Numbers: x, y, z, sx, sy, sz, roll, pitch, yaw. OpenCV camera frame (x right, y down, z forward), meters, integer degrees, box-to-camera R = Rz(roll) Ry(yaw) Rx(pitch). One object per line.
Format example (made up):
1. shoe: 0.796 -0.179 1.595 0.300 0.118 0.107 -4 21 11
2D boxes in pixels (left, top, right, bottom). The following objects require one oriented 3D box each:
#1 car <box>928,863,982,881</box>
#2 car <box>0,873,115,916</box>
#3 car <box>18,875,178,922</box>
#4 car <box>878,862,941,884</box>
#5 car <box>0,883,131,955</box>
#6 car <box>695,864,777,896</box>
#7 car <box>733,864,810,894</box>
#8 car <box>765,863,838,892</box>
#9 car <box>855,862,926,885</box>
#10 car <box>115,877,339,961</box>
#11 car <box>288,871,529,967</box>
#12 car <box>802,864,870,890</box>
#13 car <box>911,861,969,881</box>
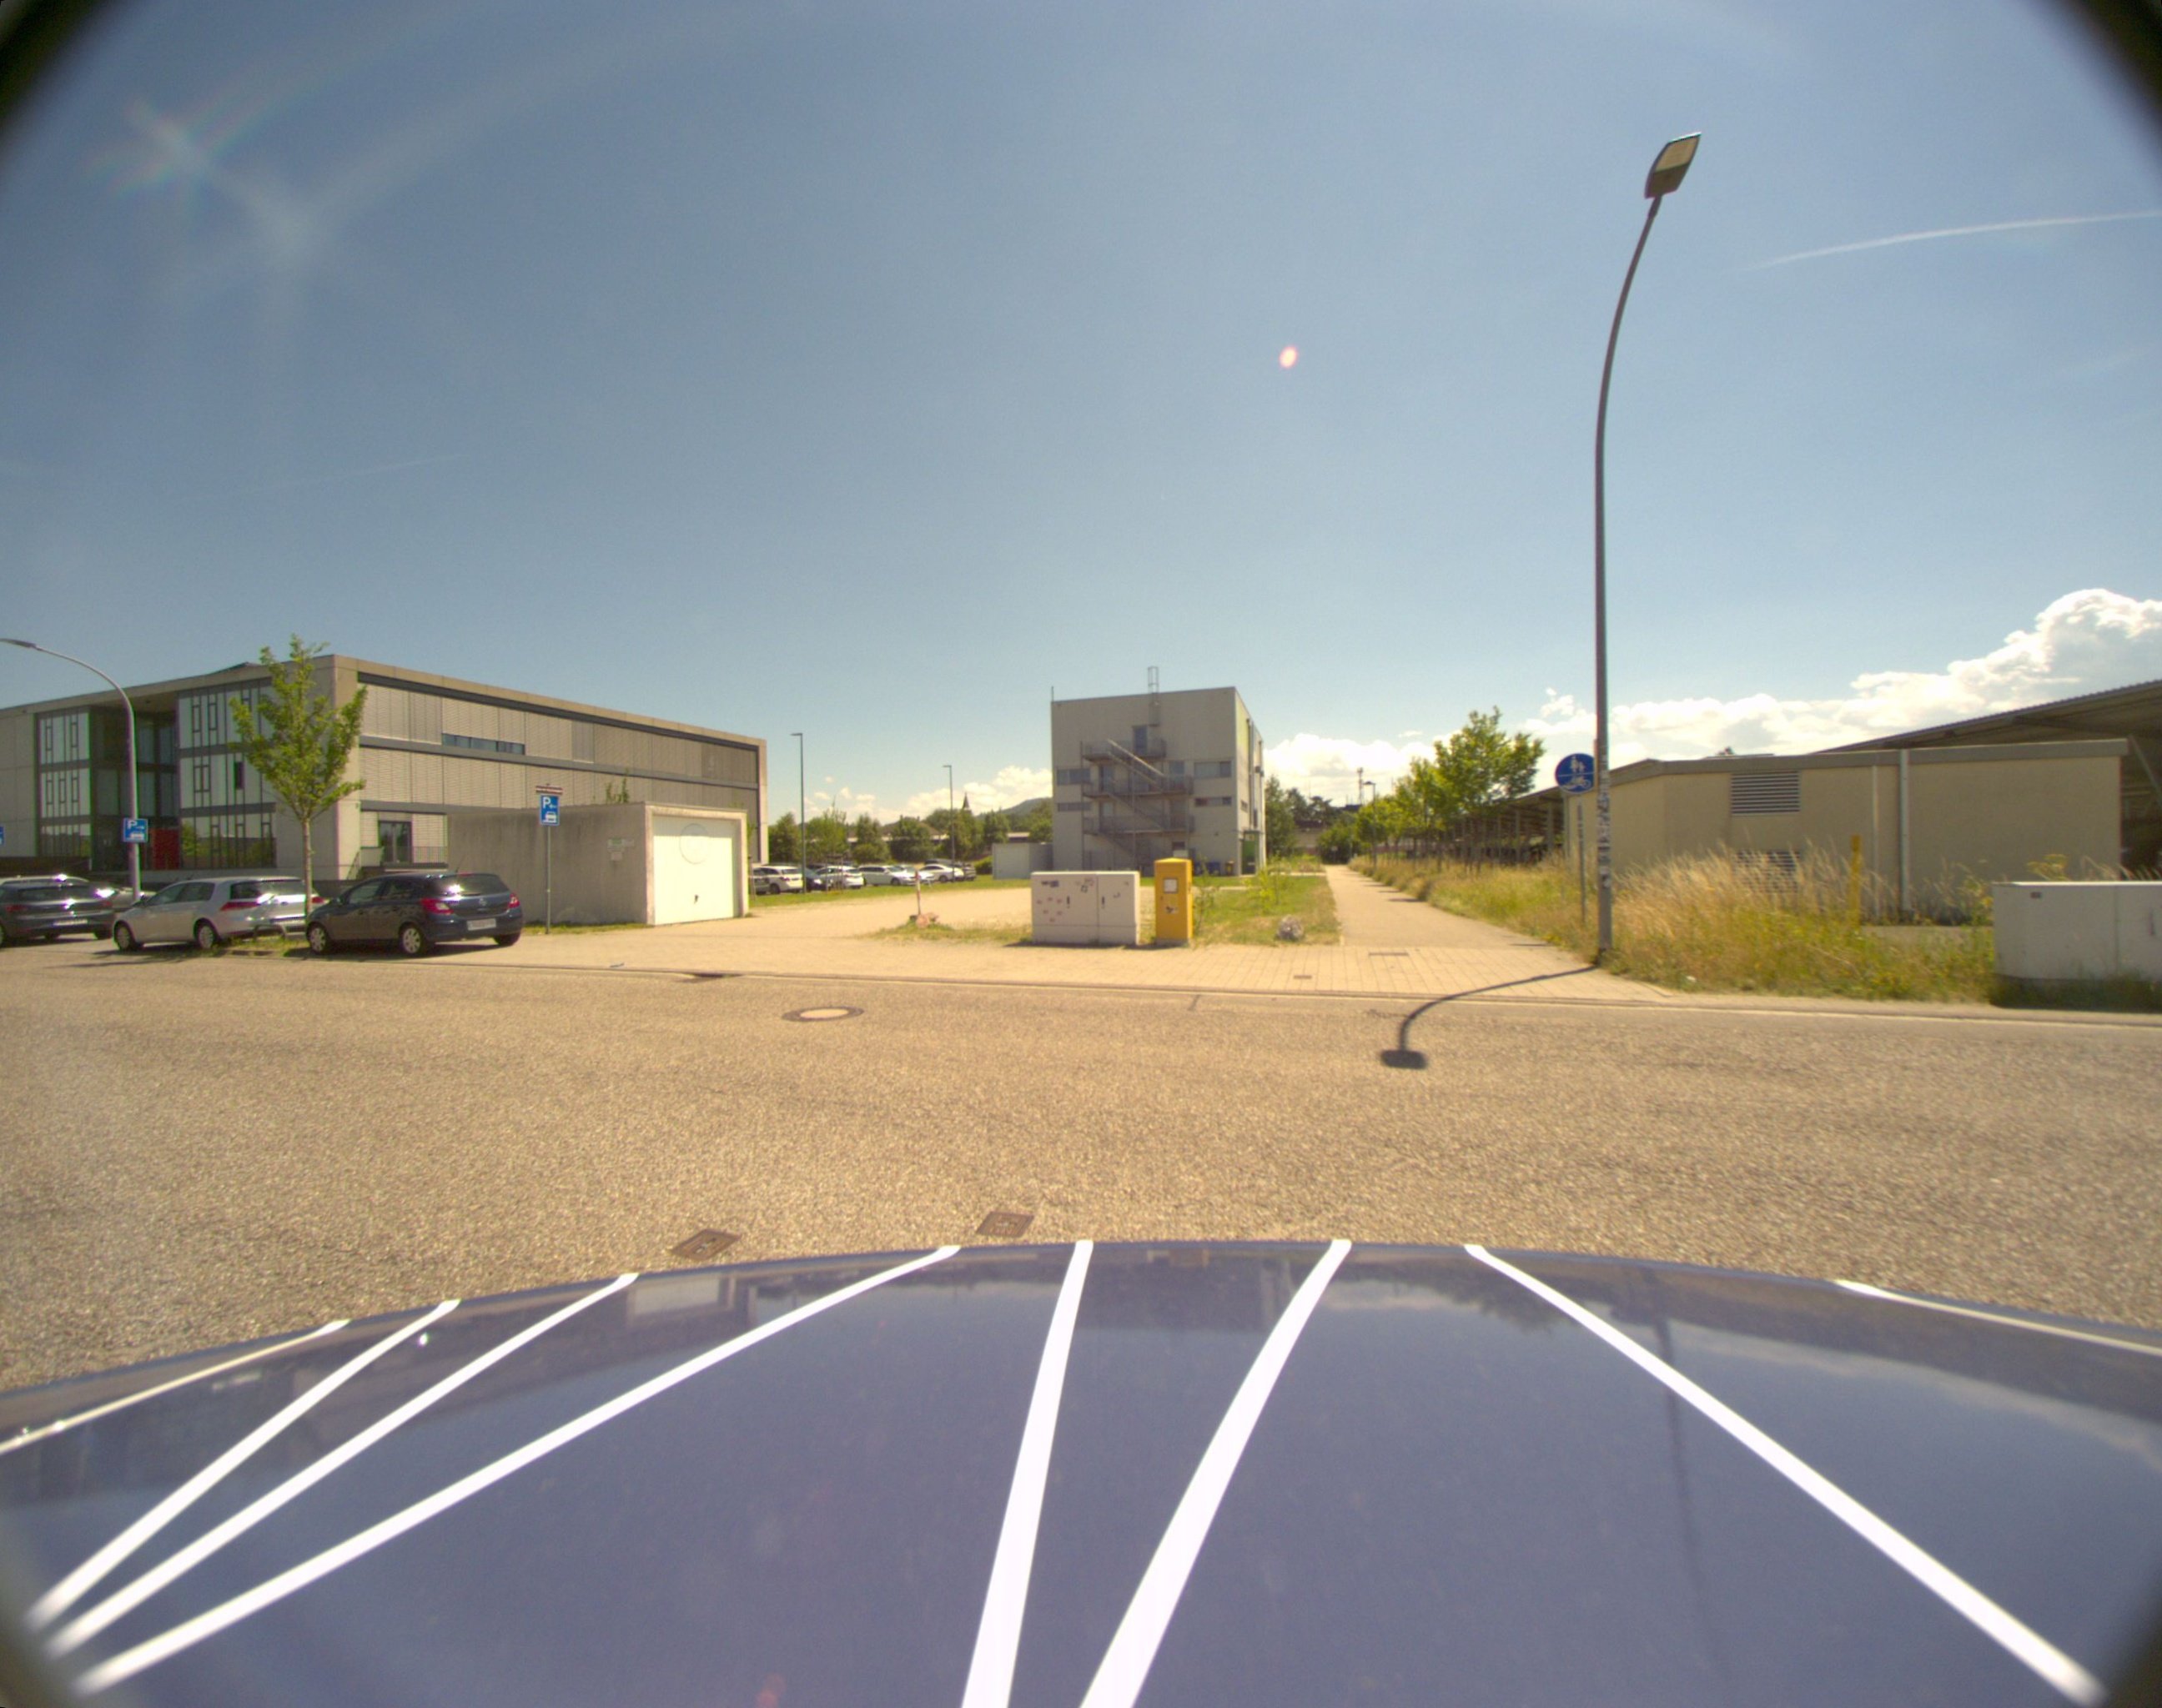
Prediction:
1. car: -10.275 1.453 62.010 4.048 1.379 1.661 -1 1 19
2. car: -42.746 1.632 31.135 1.658 1.461 3.626 -2 2 -2
3. car: -39.205 1.730 30.458 1.658 1.461 3.626 -2 2 -2
4. car: -12.131 1.341 53.784 4.048 1.458 1.661 -1 1 19
5. car: -25.098 1.509 18.227 3.620 1.461 1.660 -1 3 19
6. car: -17.687 1.332 38.969 3.620 1.492 1.661 -1 1 19
7. car: -16.829 1.365 41.350 3.620 1.492 1.661 -1 1 19
8. car: -15.898 1.347 43.322 3.620 1.526 1.661 -1 1 19
9. car: -12.900 1.306 51.533 4.362 1.458 1.711 -1 1 19
10. car: -17.779 1.306 15.852 3.621 1.492 1.660 -1 3 17
11. car: -12.424 1.144 14.085 3.620 1.492 1.685 -1 3 19
12. car: -14.928 1.388 46.263 3.620 1.492 1.661 -1 1 19
13. car: -10.890 1.303 58.594 4.048 1.417 1.661 -1 1 19
